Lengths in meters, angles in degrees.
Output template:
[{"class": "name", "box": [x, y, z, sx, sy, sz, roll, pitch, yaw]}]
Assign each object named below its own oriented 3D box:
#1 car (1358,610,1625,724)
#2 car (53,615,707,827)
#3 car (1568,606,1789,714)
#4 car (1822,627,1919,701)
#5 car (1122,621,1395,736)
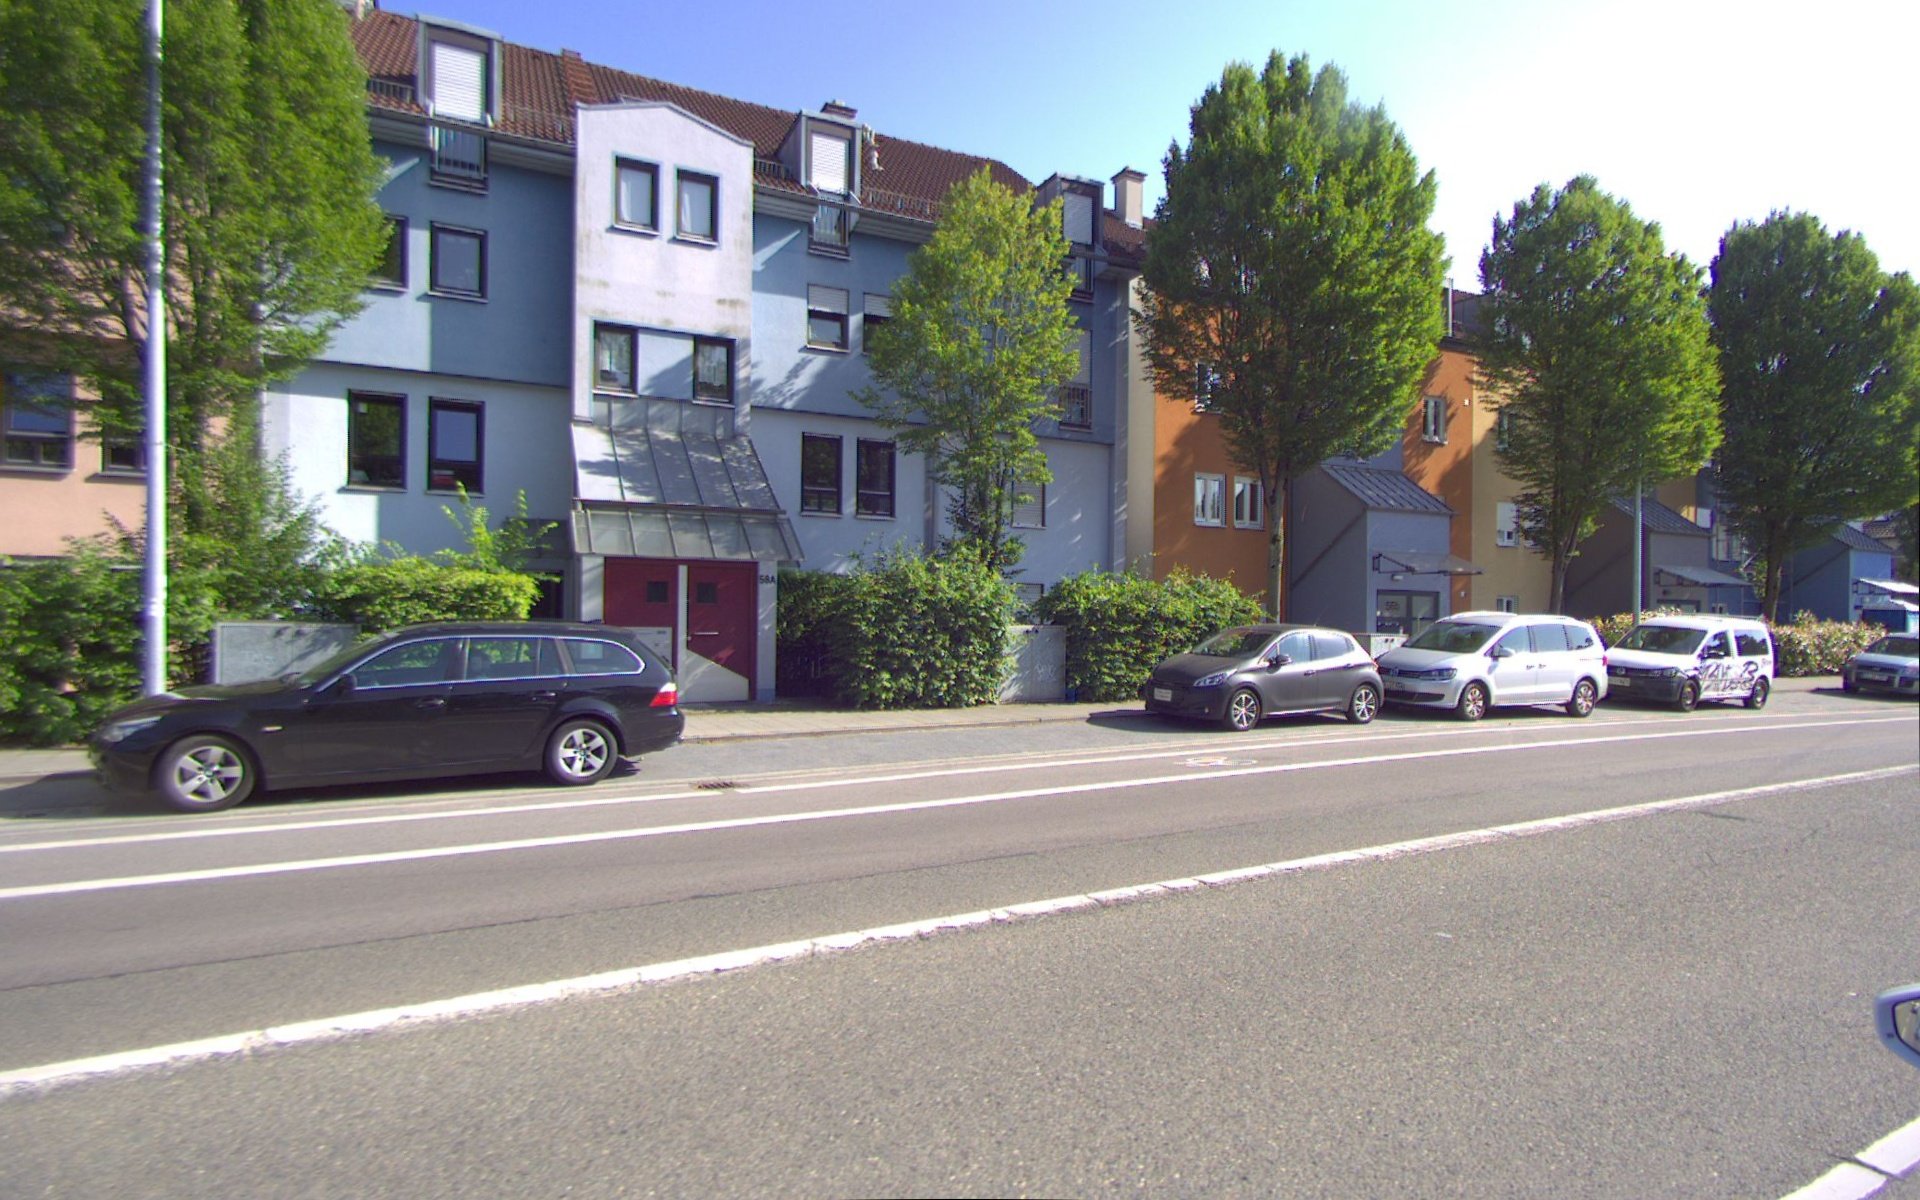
[{"class": "car", "box": [9.346, 1.108, 17.581, 4.761, 1.723, 1.662, 1, 1, -27]}, {"class": "car", "box": [-5.009, 0.954, 9.386, 4.851, 1.491, 1.701, 1, 1, -30]}, {"class": "car", "box": [14.733, 1.170, 20.551, 4.523, 1.871, 1.755, 1, 4, -28]}, {"class": "car", "box": [23.473, 1.545, 24.872, 3.929, 1.560, 1.756, 1, 4, -26]}, {"class": "car", "box": [4.570, 1.110, 15.243, 4.008, 1.485, 1.609, 1, 1, -29]}]
